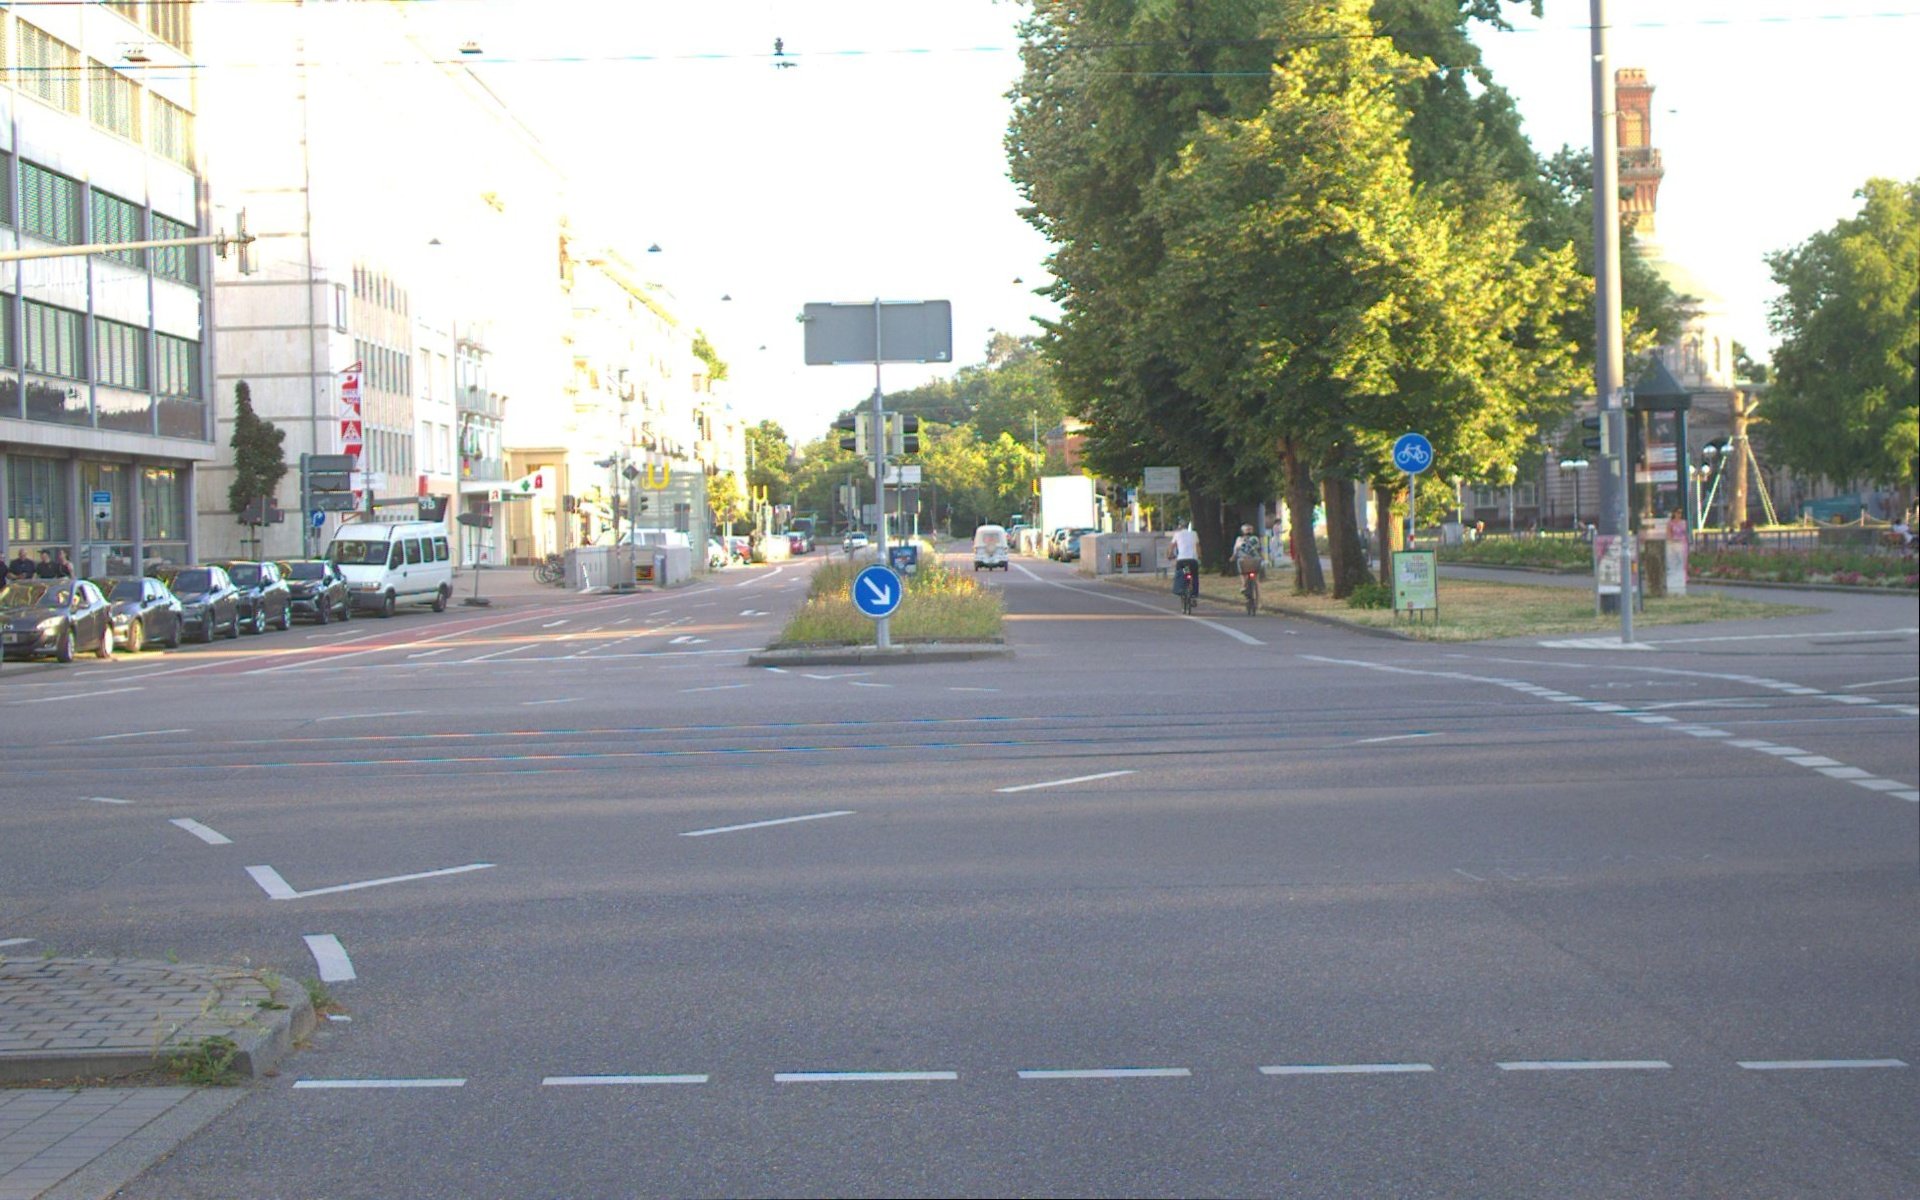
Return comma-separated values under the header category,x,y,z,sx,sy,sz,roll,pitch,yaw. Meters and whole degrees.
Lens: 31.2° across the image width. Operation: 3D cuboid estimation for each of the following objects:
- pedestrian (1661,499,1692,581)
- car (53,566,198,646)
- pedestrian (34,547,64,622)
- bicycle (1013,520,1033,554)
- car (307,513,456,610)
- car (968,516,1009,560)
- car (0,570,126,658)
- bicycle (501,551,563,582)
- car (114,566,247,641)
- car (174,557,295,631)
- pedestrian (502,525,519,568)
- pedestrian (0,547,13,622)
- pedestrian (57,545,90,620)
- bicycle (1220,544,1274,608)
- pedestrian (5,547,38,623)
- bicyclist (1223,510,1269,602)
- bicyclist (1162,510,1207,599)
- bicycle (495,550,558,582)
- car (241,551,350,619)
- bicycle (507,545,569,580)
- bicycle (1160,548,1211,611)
category,x,y,z,sx,sy,sz,roll,pitch,yaw
pedestrian,14.592,-1.228,70.006,0.460,1.651,0.567,-1,1,-1
car,-16.566,0.097,68.442,1.920,1.459,4.000,-2,1,-1
pedestrian,-20.634,-0.347,77.851,0.500,1.673,0.500,-2,1,-1
bicycle,3.804,-3.809,207.187,1.002,2.007,4.000,-1,1,4
car,-15.288,-1.059,91.235,2.002,2.469,5.865,-1,1,10
car,1.118,-2.428,134.305,1.408,1.636,4.000,-2,1,-2
car,-16.477,0.229,61.929,1.920,1.459,4.103,-2,1,-1
bicycle,-15.814,-1.236,127.071,2.205,1.108,0.689,-2,1,-2
car,-16.569,0.049,73.257,1.920,1.459,4.000,-2,1,-1
car,-16.547,-0.155,78.558,1.920,1.563,4.000,-2,1,-1
pedestrian,-21.579,-2.565,164.983,0.680,2.007,0.545,-2,1,0
pedestrian,-21.693,-0.353,77.394,0.551,1.673,0.500,-2,1,-1
pedestrian,-19.997,-0.389,77.559,0.551,1.673,0.500,-2,1,-1
bicycle,5.385,-0.462,64.597,0.746,1.140,2.505,-2,1,-1
pedestrian,-21.102,-0.344,77.317,0.551,1.673,0.500,-2,1,-1
bicyclist,5.373,-0.830,64.594,0.746,1.685,0.799,-2,1,-1
bicyclist,4.256,-0.860,65.097,0.746,1.658,0.873,-2,1,-1
bicycle,-15.828,-1.227,125.424,2.205,1.108,0.619,-2,1,-2
car,-16.348,-0.389,84.785,1.920,1.563,4.000,-2,1,-1
bicycle,-15.826,-1.407,128.889,2.205,1.232,0.839,-2,1,-2
bicycle,4.265,-0.407,65.186,0.746,1.140,2.505,-2,1,-1
